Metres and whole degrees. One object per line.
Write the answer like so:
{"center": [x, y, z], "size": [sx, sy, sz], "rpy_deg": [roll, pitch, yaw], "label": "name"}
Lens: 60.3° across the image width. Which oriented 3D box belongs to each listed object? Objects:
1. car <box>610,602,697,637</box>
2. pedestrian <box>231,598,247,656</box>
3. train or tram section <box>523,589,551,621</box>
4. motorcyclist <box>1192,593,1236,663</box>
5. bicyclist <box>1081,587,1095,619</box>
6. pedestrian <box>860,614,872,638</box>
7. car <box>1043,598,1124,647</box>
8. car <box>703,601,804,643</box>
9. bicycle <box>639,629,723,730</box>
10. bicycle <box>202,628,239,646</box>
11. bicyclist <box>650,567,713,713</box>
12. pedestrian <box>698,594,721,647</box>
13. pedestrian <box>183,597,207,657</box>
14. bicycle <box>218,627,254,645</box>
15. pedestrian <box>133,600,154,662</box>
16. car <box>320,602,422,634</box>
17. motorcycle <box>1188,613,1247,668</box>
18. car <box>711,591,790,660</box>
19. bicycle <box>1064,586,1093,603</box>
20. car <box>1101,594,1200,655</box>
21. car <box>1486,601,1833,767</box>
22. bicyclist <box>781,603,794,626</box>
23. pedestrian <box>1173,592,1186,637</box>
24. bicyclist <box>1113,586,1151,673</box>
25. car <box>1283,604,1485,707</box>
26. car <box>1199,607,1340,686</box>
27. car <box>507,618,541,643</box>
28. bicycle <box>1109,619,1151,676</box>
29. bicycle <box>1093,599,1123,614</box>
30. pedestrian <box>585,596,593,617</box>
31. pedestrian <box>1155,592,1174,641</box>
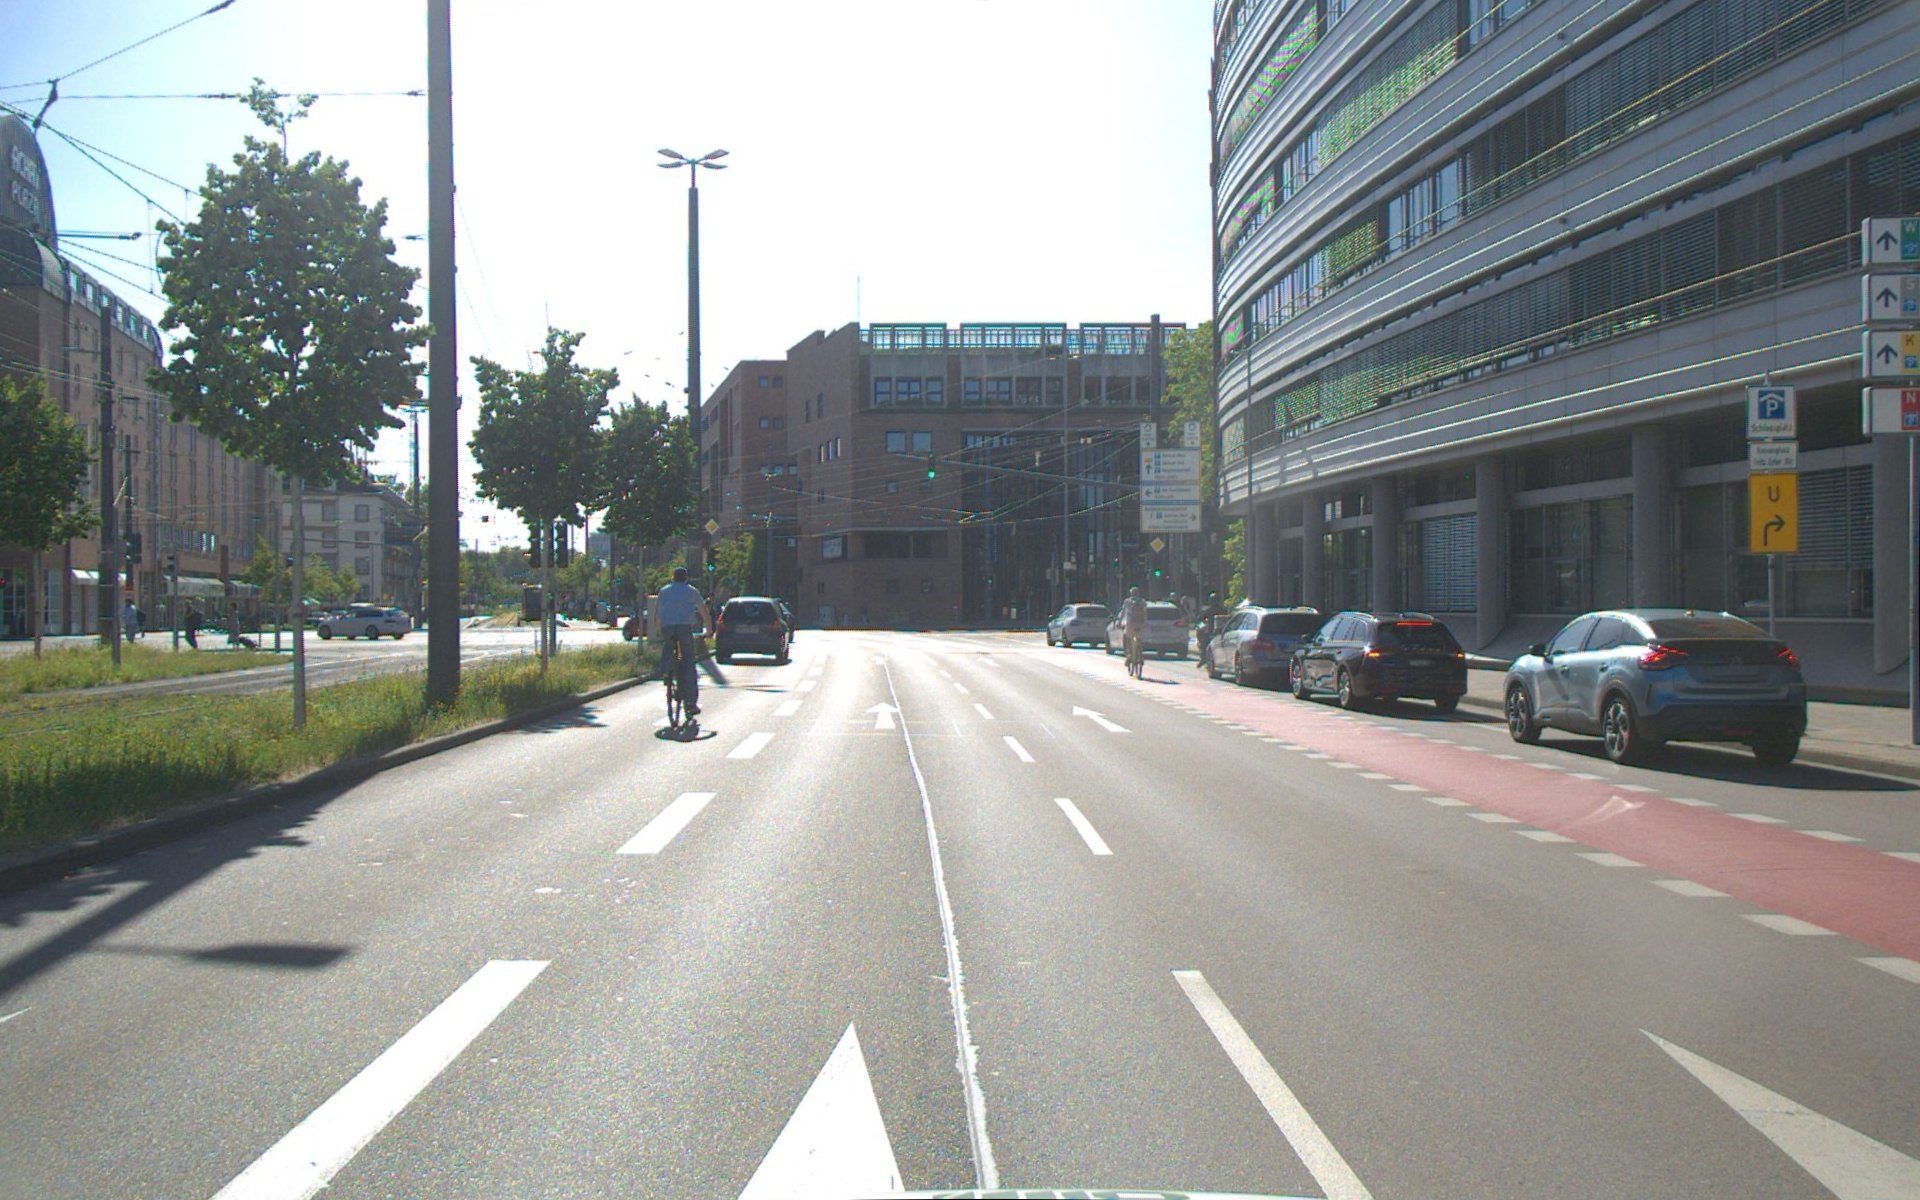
{"center": [-13.278, 0.843, 71.654], "size": [3.509, 1.474, 1.654], "rpy_deg": [-1, 0, 32], "label": "car"}
{"center": [-23.668, 0.884, 54.279], "size": [0.382, 1.863, 0.458], "rpy_deg": [0, 0, -35], "label": "pedestrian"}
{"center": [-42.585, 0.511, 166.759], "size": [2.286, 3.056, 13.116], "rpy_deg": [0, 0, -13], "label": "train or tram section"}
{"center": [5.869, 0.638, 38.232], "size": [0.812, 1.588, 0.941], "rpy_deg": [1, -1, -4], "label": "motorcyclist"}
{"center": [7.873, 0.181, 101.659], "size": [0.597, 1.917, 0.646], "rpy_deg": [-1, -1, -22], "label": "bicyclist"}
{"center": [-6.254, 1.699, 109.968], "size": [0.608, 1.590, 0.981], "rpy_deg": [-1, -1, -18], "label": "pedestrian"}
{"center": [4.216, 0.744, 57.168], "size": [1.871, 1.568, 4.130], "rpy_deg": [1, 0, -9], "label": "car"}
{"center": [-7.748, 0.816, 61.826], "size": [1.715, 1.474, 4.458], "rpy_deg": [-1, 0, -38], "label": "car"}
{"center": [-3.351, 0.926, 20.077], "size": [0.673, 1.088, 2.695], "rpy_deg": [1, 0, -3], "label": "bicycle"}
{"center": [-55.762, 2.765, 124.706], "size": [2.437, 1.333, 0.732], "rpy_deg": [-1, 0, -6], "label": "bicycle"}
{"center": [-3.340, 0.468, 19.878], "size": [0.605, 1.699, 1.019], "rpy_deg": [1, 0, -3], "label": "bicyclist"}
{"center": [-8.418, 0.682, 55.653], "size": [0.659, 1.783, 0.766], "rpy_deg": [-1, 0, -16], "label": "pedestrian"}
{"center": [-24.084, 0.852, 52.072], "size": [0.577, 1.863, 0.490], "rpy_deg": [0, 0, -42], "label": "pedestrian"}
{"center": [-55.857, 2.768, 127.680], "size": [2.437, 1.333, 0.732], "rpy_deg": [-1, 0, -6], "label": "bicycle"}
{"center": [-24.911, 0.939, 50.481], "size": [0.457, 1.863, 0.452], "rpy_deg": [0, 0, -42], "label": "pedestrian"}
{"center": [-27.971, 0.856, 78.553], "size": [4.309, 1.405, 2.066], "rpy_deg": [-1, 0, 24], "label": "car"}
{"center": [5.913, 0.920, 38.096], "size": [0.812, 1.222, 2.388], "rpy_deg": [1, -1, -4], "label": "motorcycle"}
{"center": [-5.077, 0.602, 40.450], "size": [1.692, 1.591, 3.674], "rpy_deg": [-1, 0, -4], "label": "car"}
{"center": [7.253, -0.360, 101.451], "size": [1.647, 1.012, 0.668], "rpy_deg": [-1, 0, -24], "label": "bicycle"}
{"center": [5.382, 0.665, 47.221], "size": [1.870, 1.611, 4.132], "rpy_deg": [1, 0, -7], "label": "car"}
{"center": [7.287, 0.788, 17.757], "size": [1.687, 1.551, 4.396], "rpy_deg": [0, 0, -3], "label": "car"}
{"center": [-10.267, 0.851, 98.492], "size": [0.583, 1.359, 0.928], "rpy_deg": [0, -1, -18], "label": "bicyclist"}
{"center": [8.315, 0.530, 62.723], "size": [0.418, 1.674, 0.562], "rpy_deg": [-2, 1, 9], "label": "pedestrian"}
{"center": [3.625, 0.610, 34.877], "size": [0.636, 1.783, 1.045], "rpy_deg": [-1, 1, -3], "label": "bicyclist"}
{"center": [6.540, 0.809, 26.070], "size": [1.688, 1.447, 4.633], "rpy_deg": [1, 0, -4], "label": "car"}
{"center": [6.040, 0.862, 32.814], "size": [1.687, 1.420, 4.785], "rpy_deg": [0, 0, -3], "label": "car"}
{"center": [-32.458, 2.230, 123.069], "size": [2.228, 1.757, 3.923], "rpy_deg": [-1, 0, -19], "label": "car"}
{"center": [3.606, 1.002, 35.218], "size": [0.636, 1.129, 1.757], "rpy_deg": [-1, 1, -3], "label": "bicycle"}
{"center": [8.626, 0.363, 96.298], "size": [1.641, 0.820, 0.671], "rpy_deg": [-1, 0, -15], "label": "bicycle"}
{"center": [-30.244, 0.564, 134.734], "size": [0.530, 1.684, 0.703], "rpy_deg": [-1, -1, -18], "label": "pedestrian"}
{"center": [7.771, 0.611, 62.786], "size": [0.624, 1.829, 0.609], "rpy_deg": [-2, 1, 11], "label": "pedestrian"}
